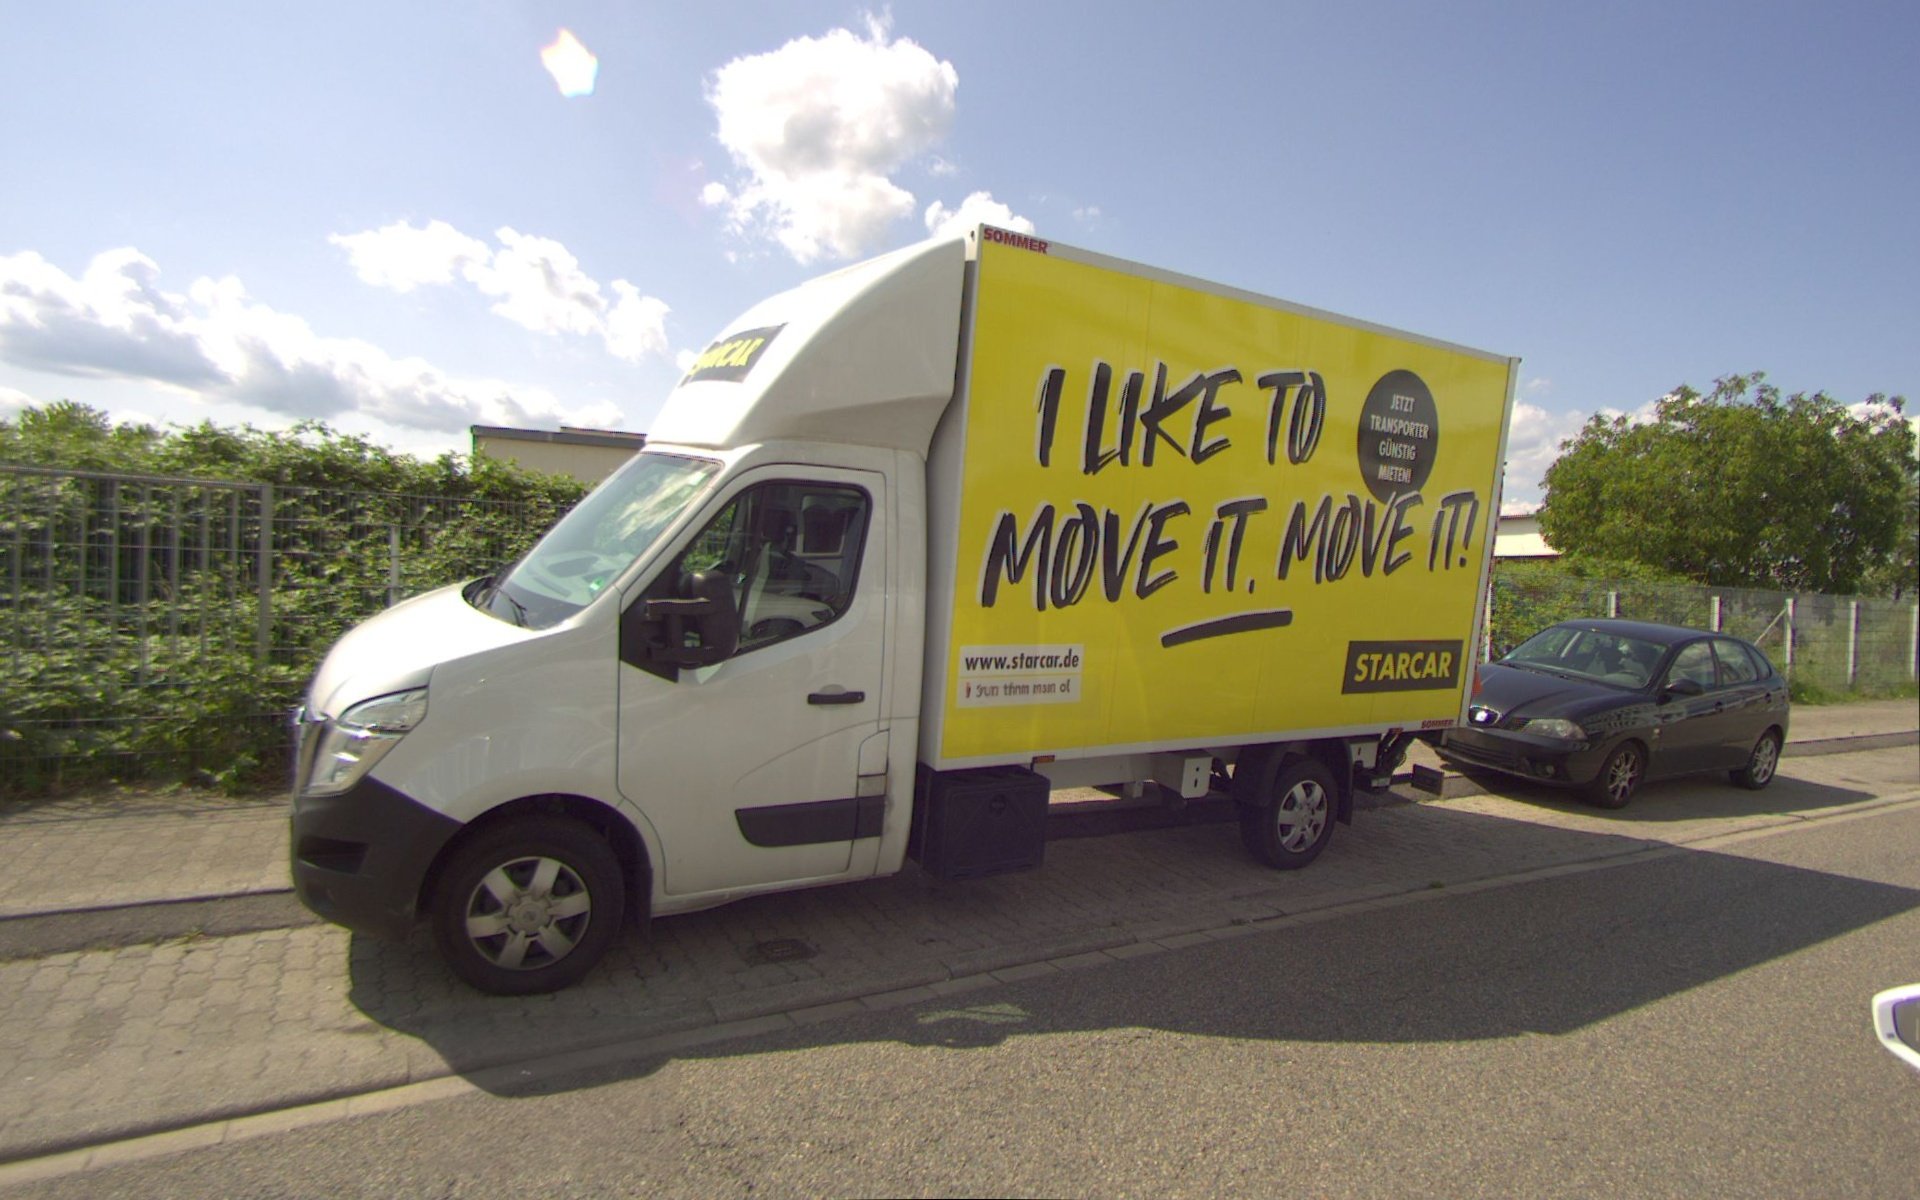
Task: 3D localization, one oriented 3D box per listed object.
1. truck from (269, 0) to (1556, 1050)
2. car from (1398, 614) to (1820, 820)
[{"bbox_3d":[0.261,-0.321,5.798,6.827,3.407,2.238,1,5,-31],"label":"truck"},{"bbox_3d":[6.043,0.958,9.297,3.780,1.449,1.611,2,3,-29],"label":"car"}]
